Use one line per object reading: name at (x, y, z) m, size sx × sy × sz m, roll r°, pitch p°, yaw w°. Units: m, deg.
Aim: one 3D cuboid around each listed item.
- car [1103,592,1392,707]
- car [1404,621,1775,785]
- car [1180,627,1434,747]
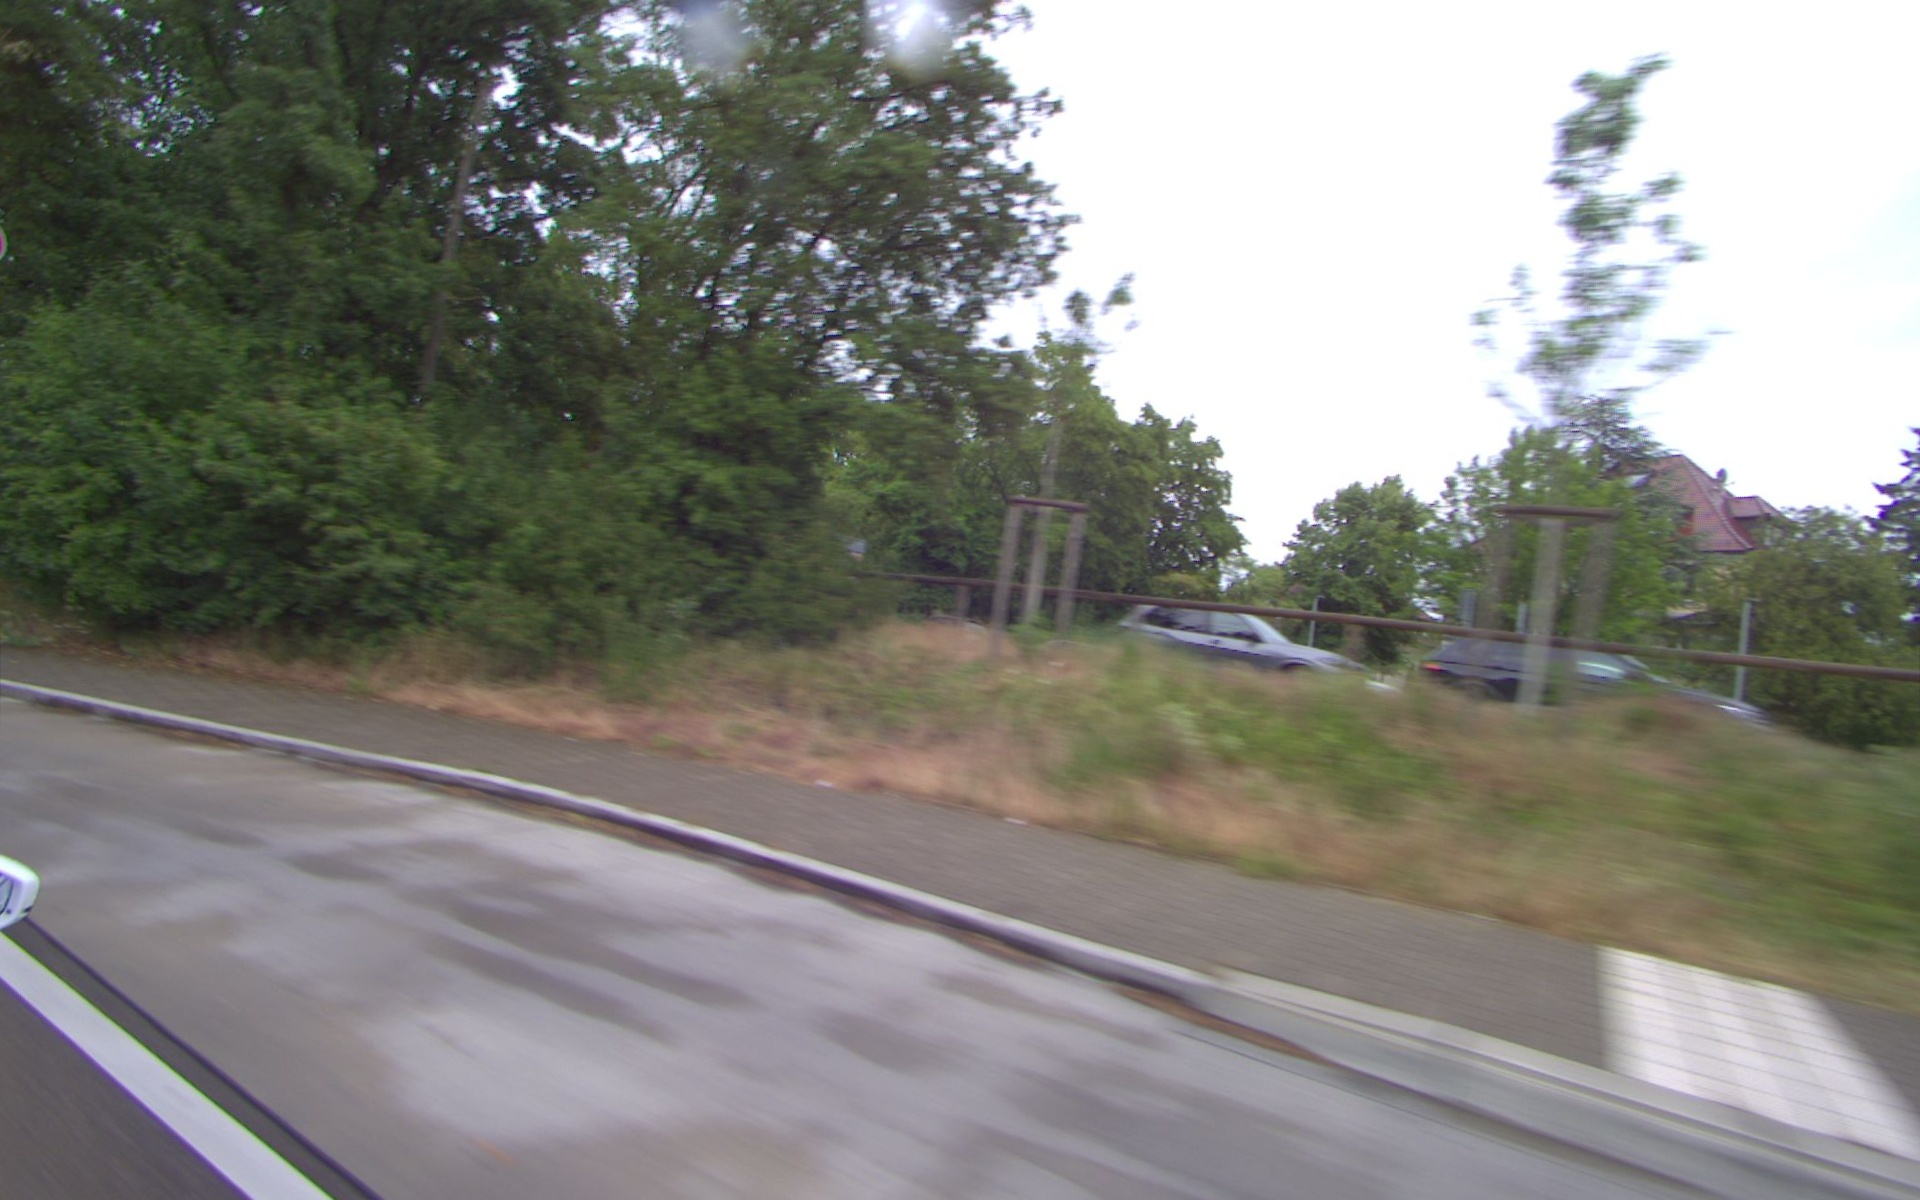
car at (5.275, 0.884, 18.809) m, size 4.713 × 1.494 × 1.888 m, roll 5°, pitch -6°, yaw 39°
car at (9.454, 1.516, 15.346) m, size 4.406 × 1.678 × 1.997 m, roll 6°, pitch -5°, yaw 38°
car at (7.101, 1.755, 20.803) m, size 4.406 × 1.678 × 1.997 m, roll 6°, pitch -5°, yaw 38°
